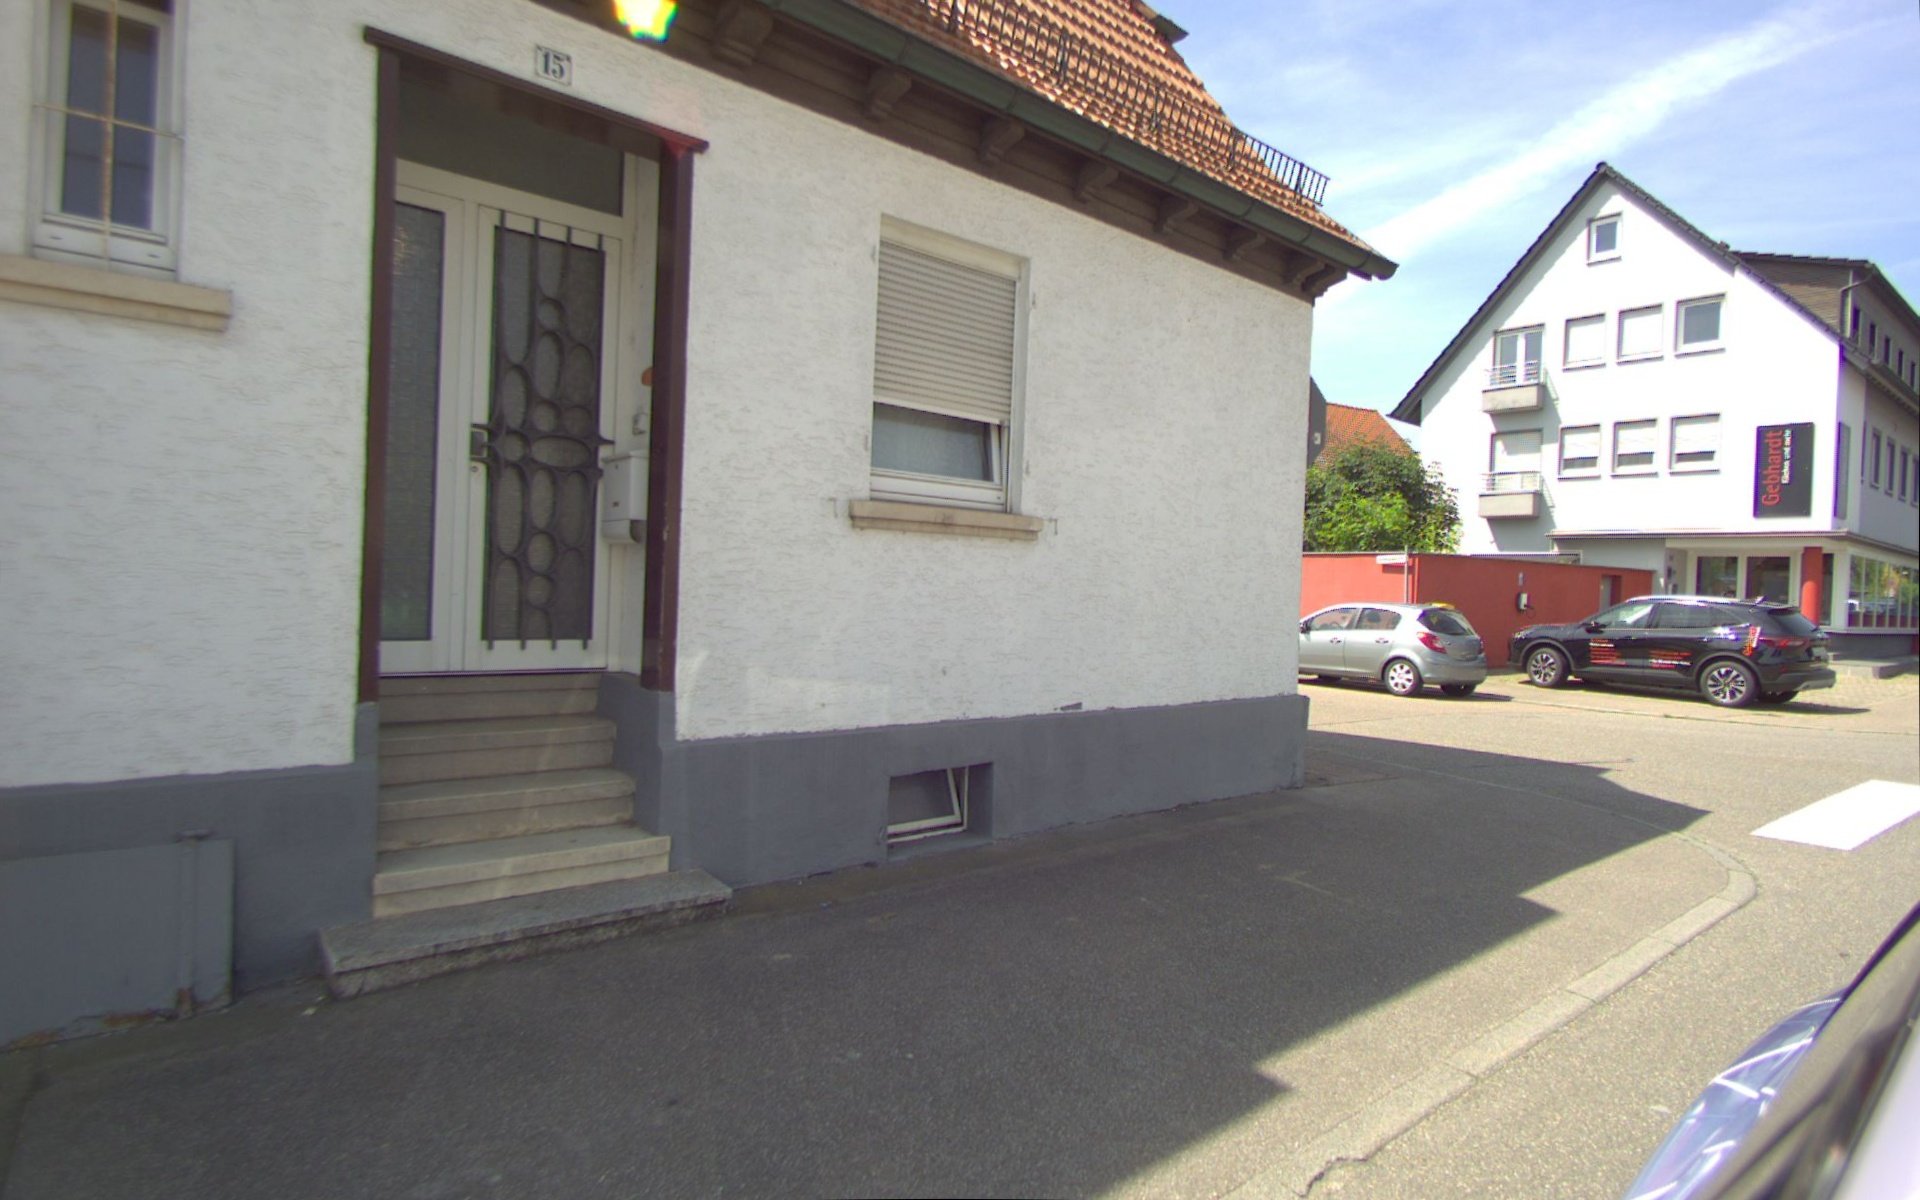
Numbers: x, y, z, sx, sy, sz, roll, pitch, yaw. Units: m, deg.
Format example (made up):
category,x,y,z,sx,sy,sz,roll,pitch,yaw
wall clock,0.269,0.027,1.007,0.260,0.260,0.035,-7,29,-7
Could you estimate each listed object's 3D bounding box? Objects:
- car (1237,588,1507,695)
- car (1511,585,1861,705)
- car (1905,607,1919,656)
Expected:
category,x,y,z,sx,sy,sz,roll,pitch,yaw
car,6.805,0.624,17.143,1.660,1.523,4.004,2,0,-31
car,11.713,0.613,16.660,1.811,1.674,4.312,1,1,-31
car,34.967,0.945,33.994,1.842,1.691,4.376,1,-5,-37
